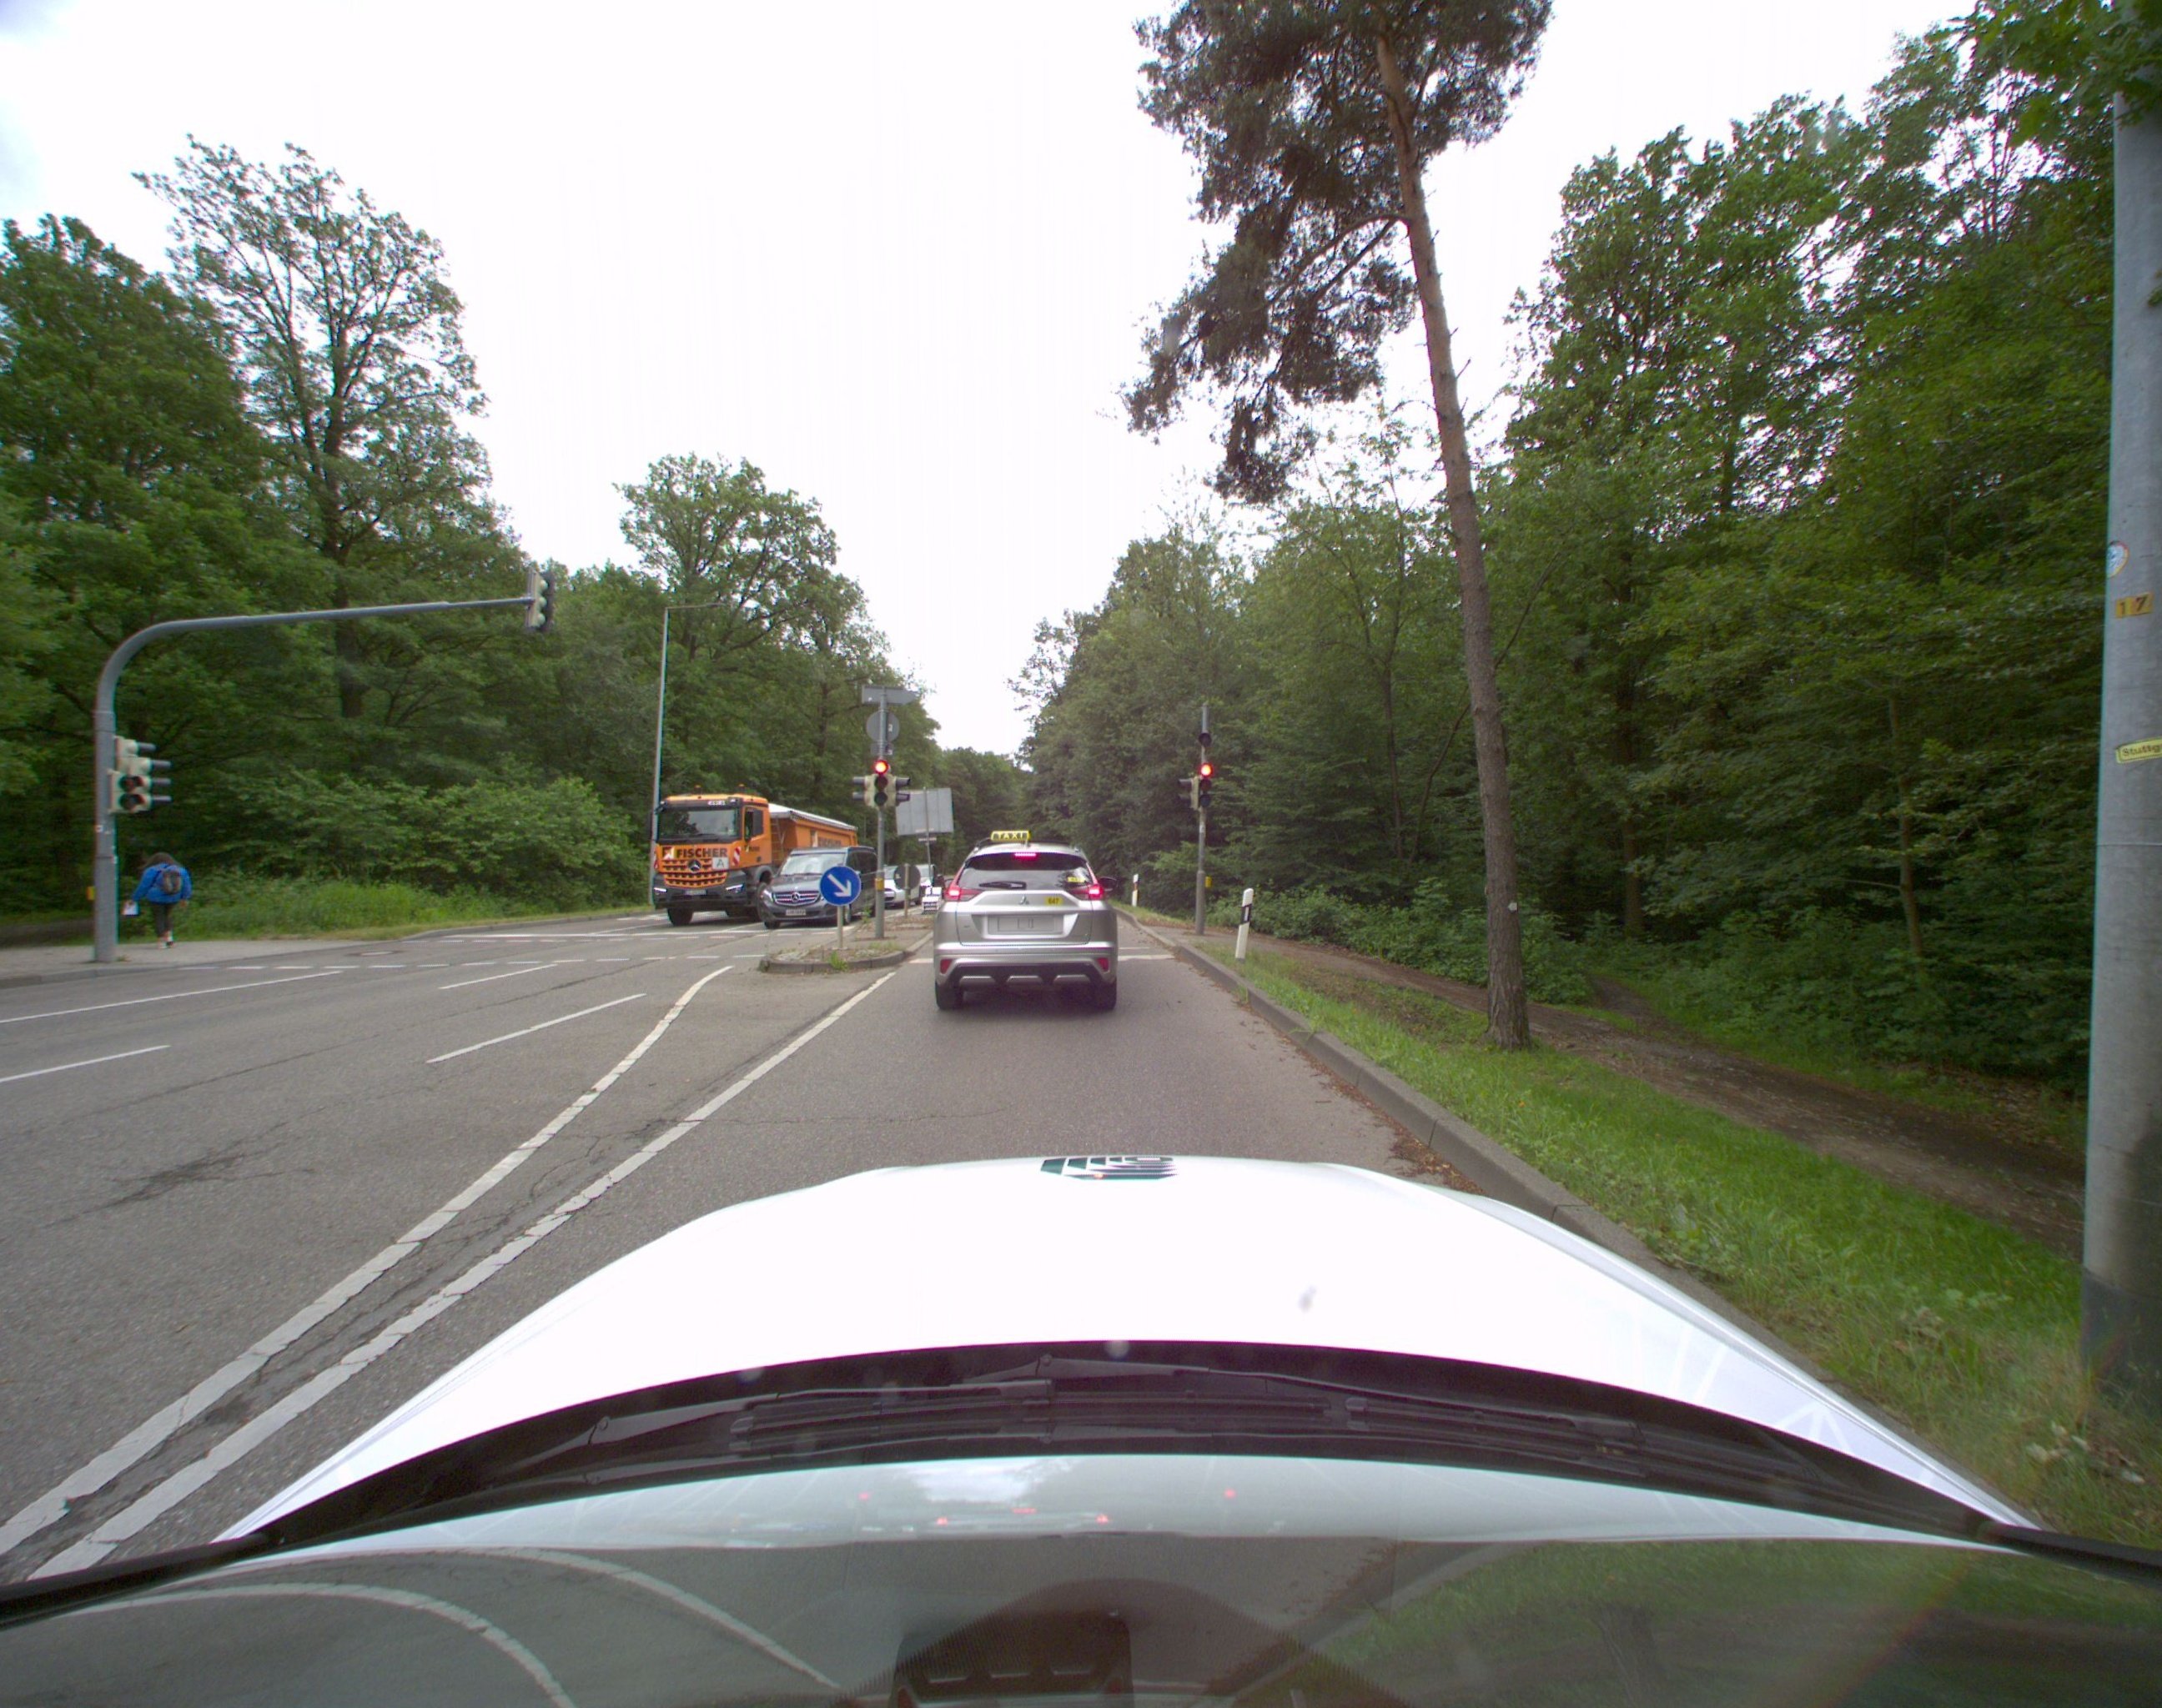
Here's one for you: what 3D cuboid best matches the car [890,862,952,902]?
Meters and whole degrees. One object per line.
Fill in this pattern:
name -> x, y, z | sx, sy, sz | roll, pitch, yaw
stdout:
car -> -6.628, 1.131, 34.021 | 1.806, 1.508, 3.720 | -3, -1, -1

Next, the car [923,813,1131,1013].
car -> -0.581, 0.532, 9.280 | 1.842, 1.780, 3.995 | 0, 0, -3

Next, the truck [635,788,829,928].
truck -> -9.554, 0.163, 23.291 | 2.733, 3.318, 7.150 | -2, -1, -3

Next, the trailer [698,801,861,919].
trailer -> -9.789, 0.253, 27.617 | 2.733, 3.318, 8.558 | -2, -1, -3

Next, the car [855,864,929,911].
car -> -6.378, 1.093, 27.831 | 1.607, 1.321, 3.720 | -3, 0, -1

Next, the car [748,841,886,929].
car -> -6.485, 0.729, 20.625 | 1.988, 1.894, 4.835 | -2, -1, -2

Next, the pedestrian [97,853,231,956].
pedestrian -> -15.882, 0.845, 14.143 | 1.042, 1.649, 1.070 | 3, 1, 4
